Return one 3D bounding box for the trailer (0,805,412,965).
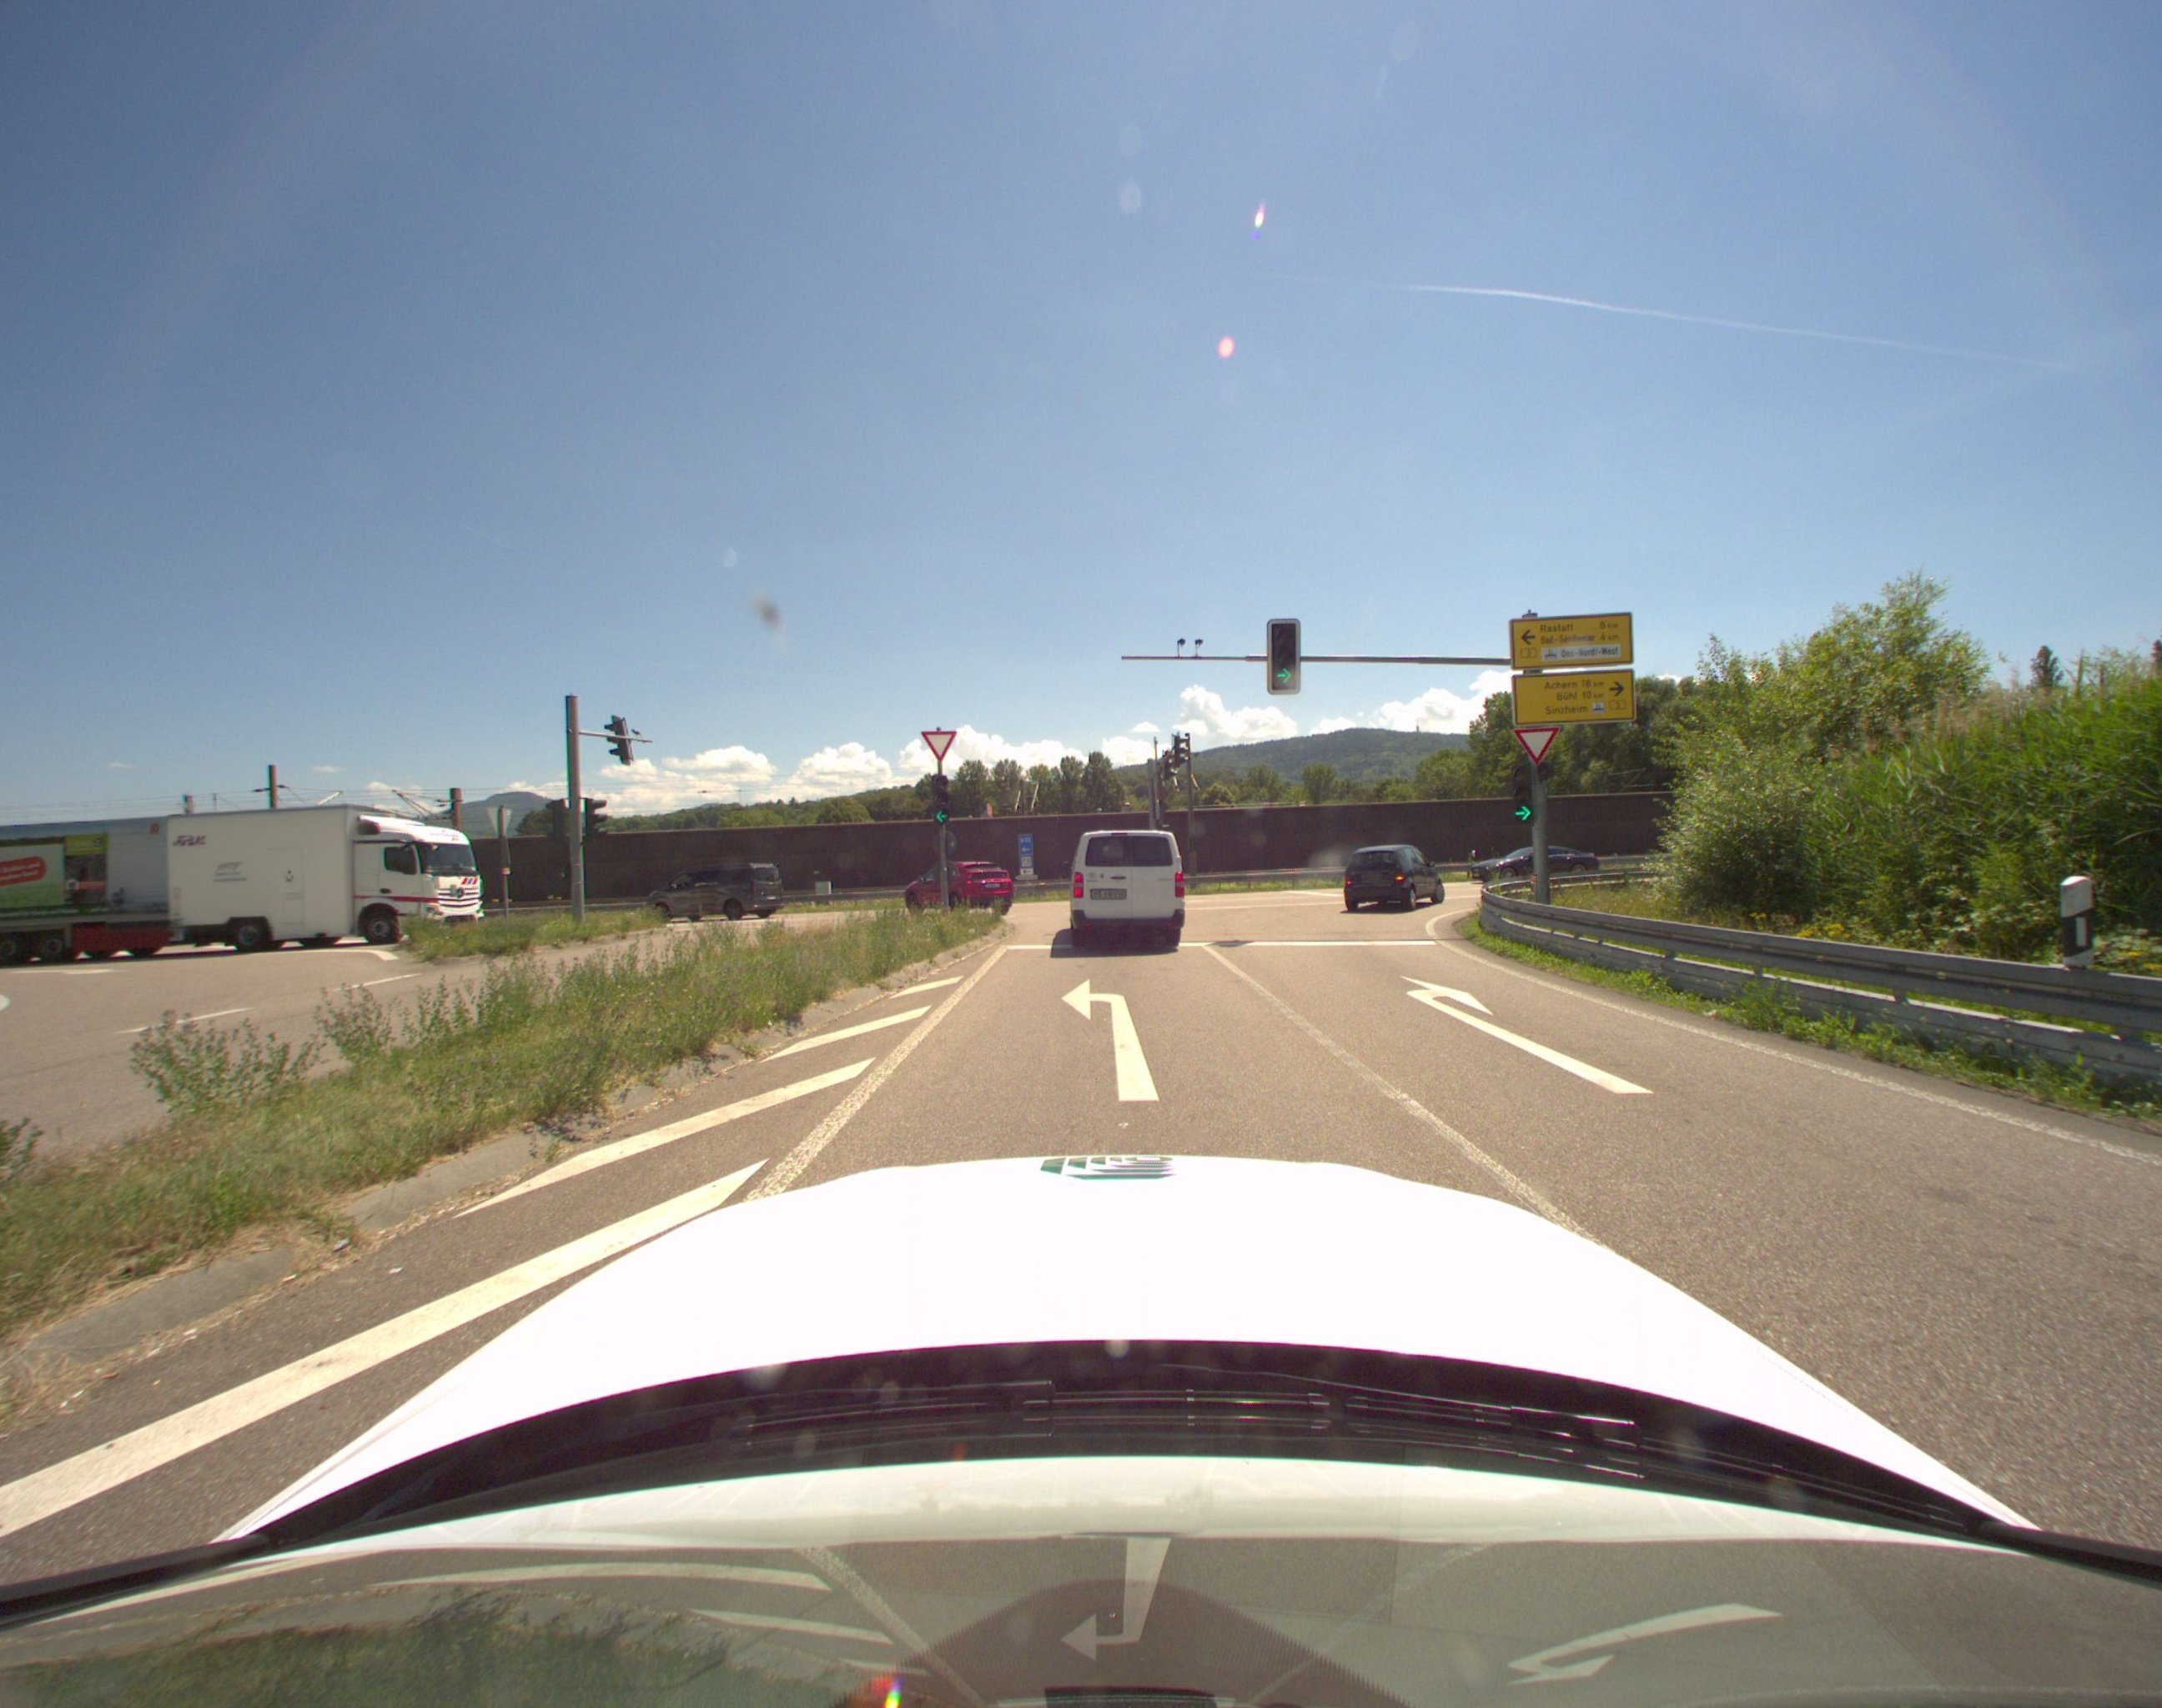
[{"bbox_3d":[-28.463,1.032,24.553,14.036,4.045,2.697,-3,-2,-1],"label":"trailer"}]

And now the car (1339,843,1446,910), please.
[{"bbox_3d":[8.164,0.522,21.215,1.622,1.597,3.584,-1,0,38],"label":"car"}]

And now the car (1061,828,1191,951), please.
[{"bbox_3d":[0.659,0.556,15.219,1.941,1.881,4.876,-1,0,-2],"label":"car"}]

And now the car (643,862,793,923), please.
[{"bbox_3d":[-13.571,1.419,30.553,4.736,2.022,2.020,-3,-1,11],"label":"car"}]

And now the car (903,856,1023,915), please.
[{"bbox_3d":[-3.756,1.006,25.376,1.921,1.649,4.094,-2,-2,-37],"label":"car"}]

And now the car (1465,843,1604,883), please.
[{"bbox_3d":[18.528,0.378,33.440,4.619,1.364,1.912,-2,-2,-1],"label":"car"}]

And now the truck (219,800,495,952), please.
[{"bbox_3d":[-21.723,0.663,24.691,5.789,4.045,2.697,-3,-2,-1],"label":"truck"}]
